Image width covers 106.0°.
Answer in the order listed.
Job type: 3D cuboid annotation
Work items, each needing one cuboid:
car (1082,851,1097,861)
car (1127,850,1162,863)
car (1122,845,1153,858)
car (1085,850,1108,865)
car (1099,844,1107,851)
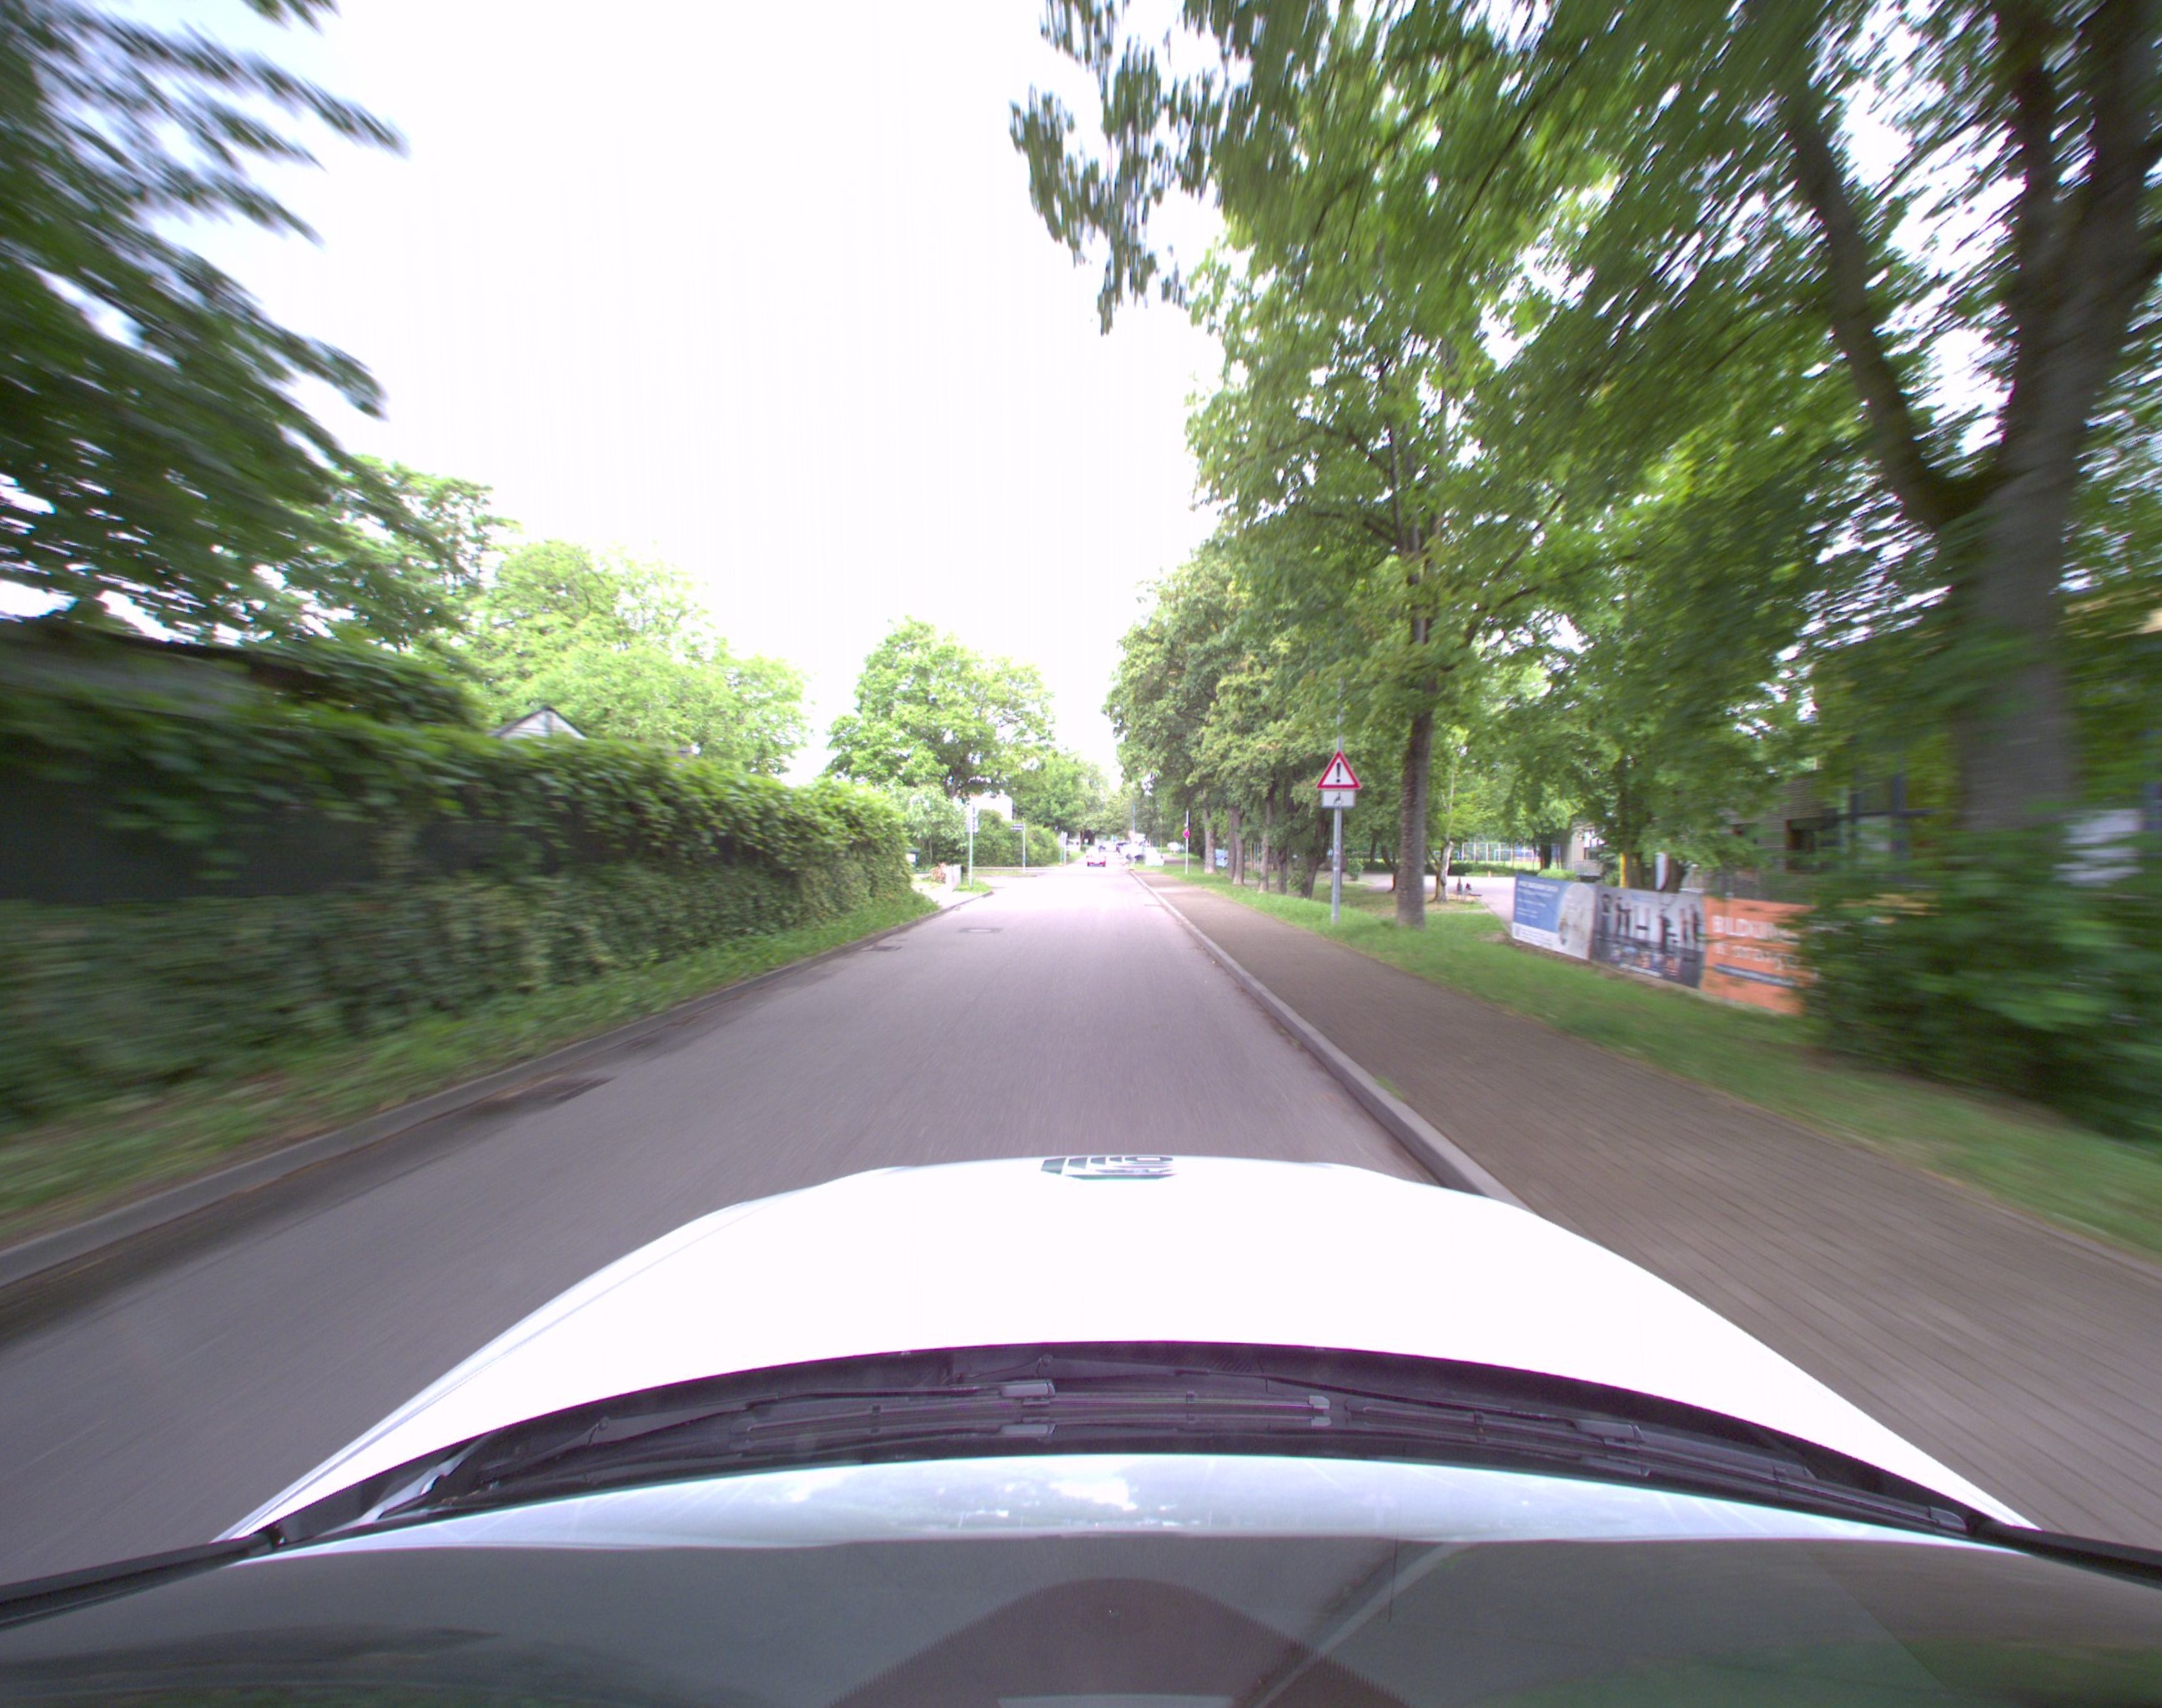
[{"bbox_3d":[1.247,0.267,118.266,1.772,1.306,4.304,1,0,7],"label":"car"},{"bbox_3d":[7.595,0.297,97.735,4.049,1.434,2.000,-1,-1,1],"label":"car"},{"bbox_3d":[8.003,-0.330,115.425,4.052,1.687,1.821,-3,0,-2],"label":"car"},{"bbox_3d":[1.452,0.306,76.678,1.747,1.335,4.058,1,0,-5],"label":"car"},{"bbox_3d":[5.568,-1.661,205.744,1.962,1.747,4.339,1,0,1],"label":"car"}]
